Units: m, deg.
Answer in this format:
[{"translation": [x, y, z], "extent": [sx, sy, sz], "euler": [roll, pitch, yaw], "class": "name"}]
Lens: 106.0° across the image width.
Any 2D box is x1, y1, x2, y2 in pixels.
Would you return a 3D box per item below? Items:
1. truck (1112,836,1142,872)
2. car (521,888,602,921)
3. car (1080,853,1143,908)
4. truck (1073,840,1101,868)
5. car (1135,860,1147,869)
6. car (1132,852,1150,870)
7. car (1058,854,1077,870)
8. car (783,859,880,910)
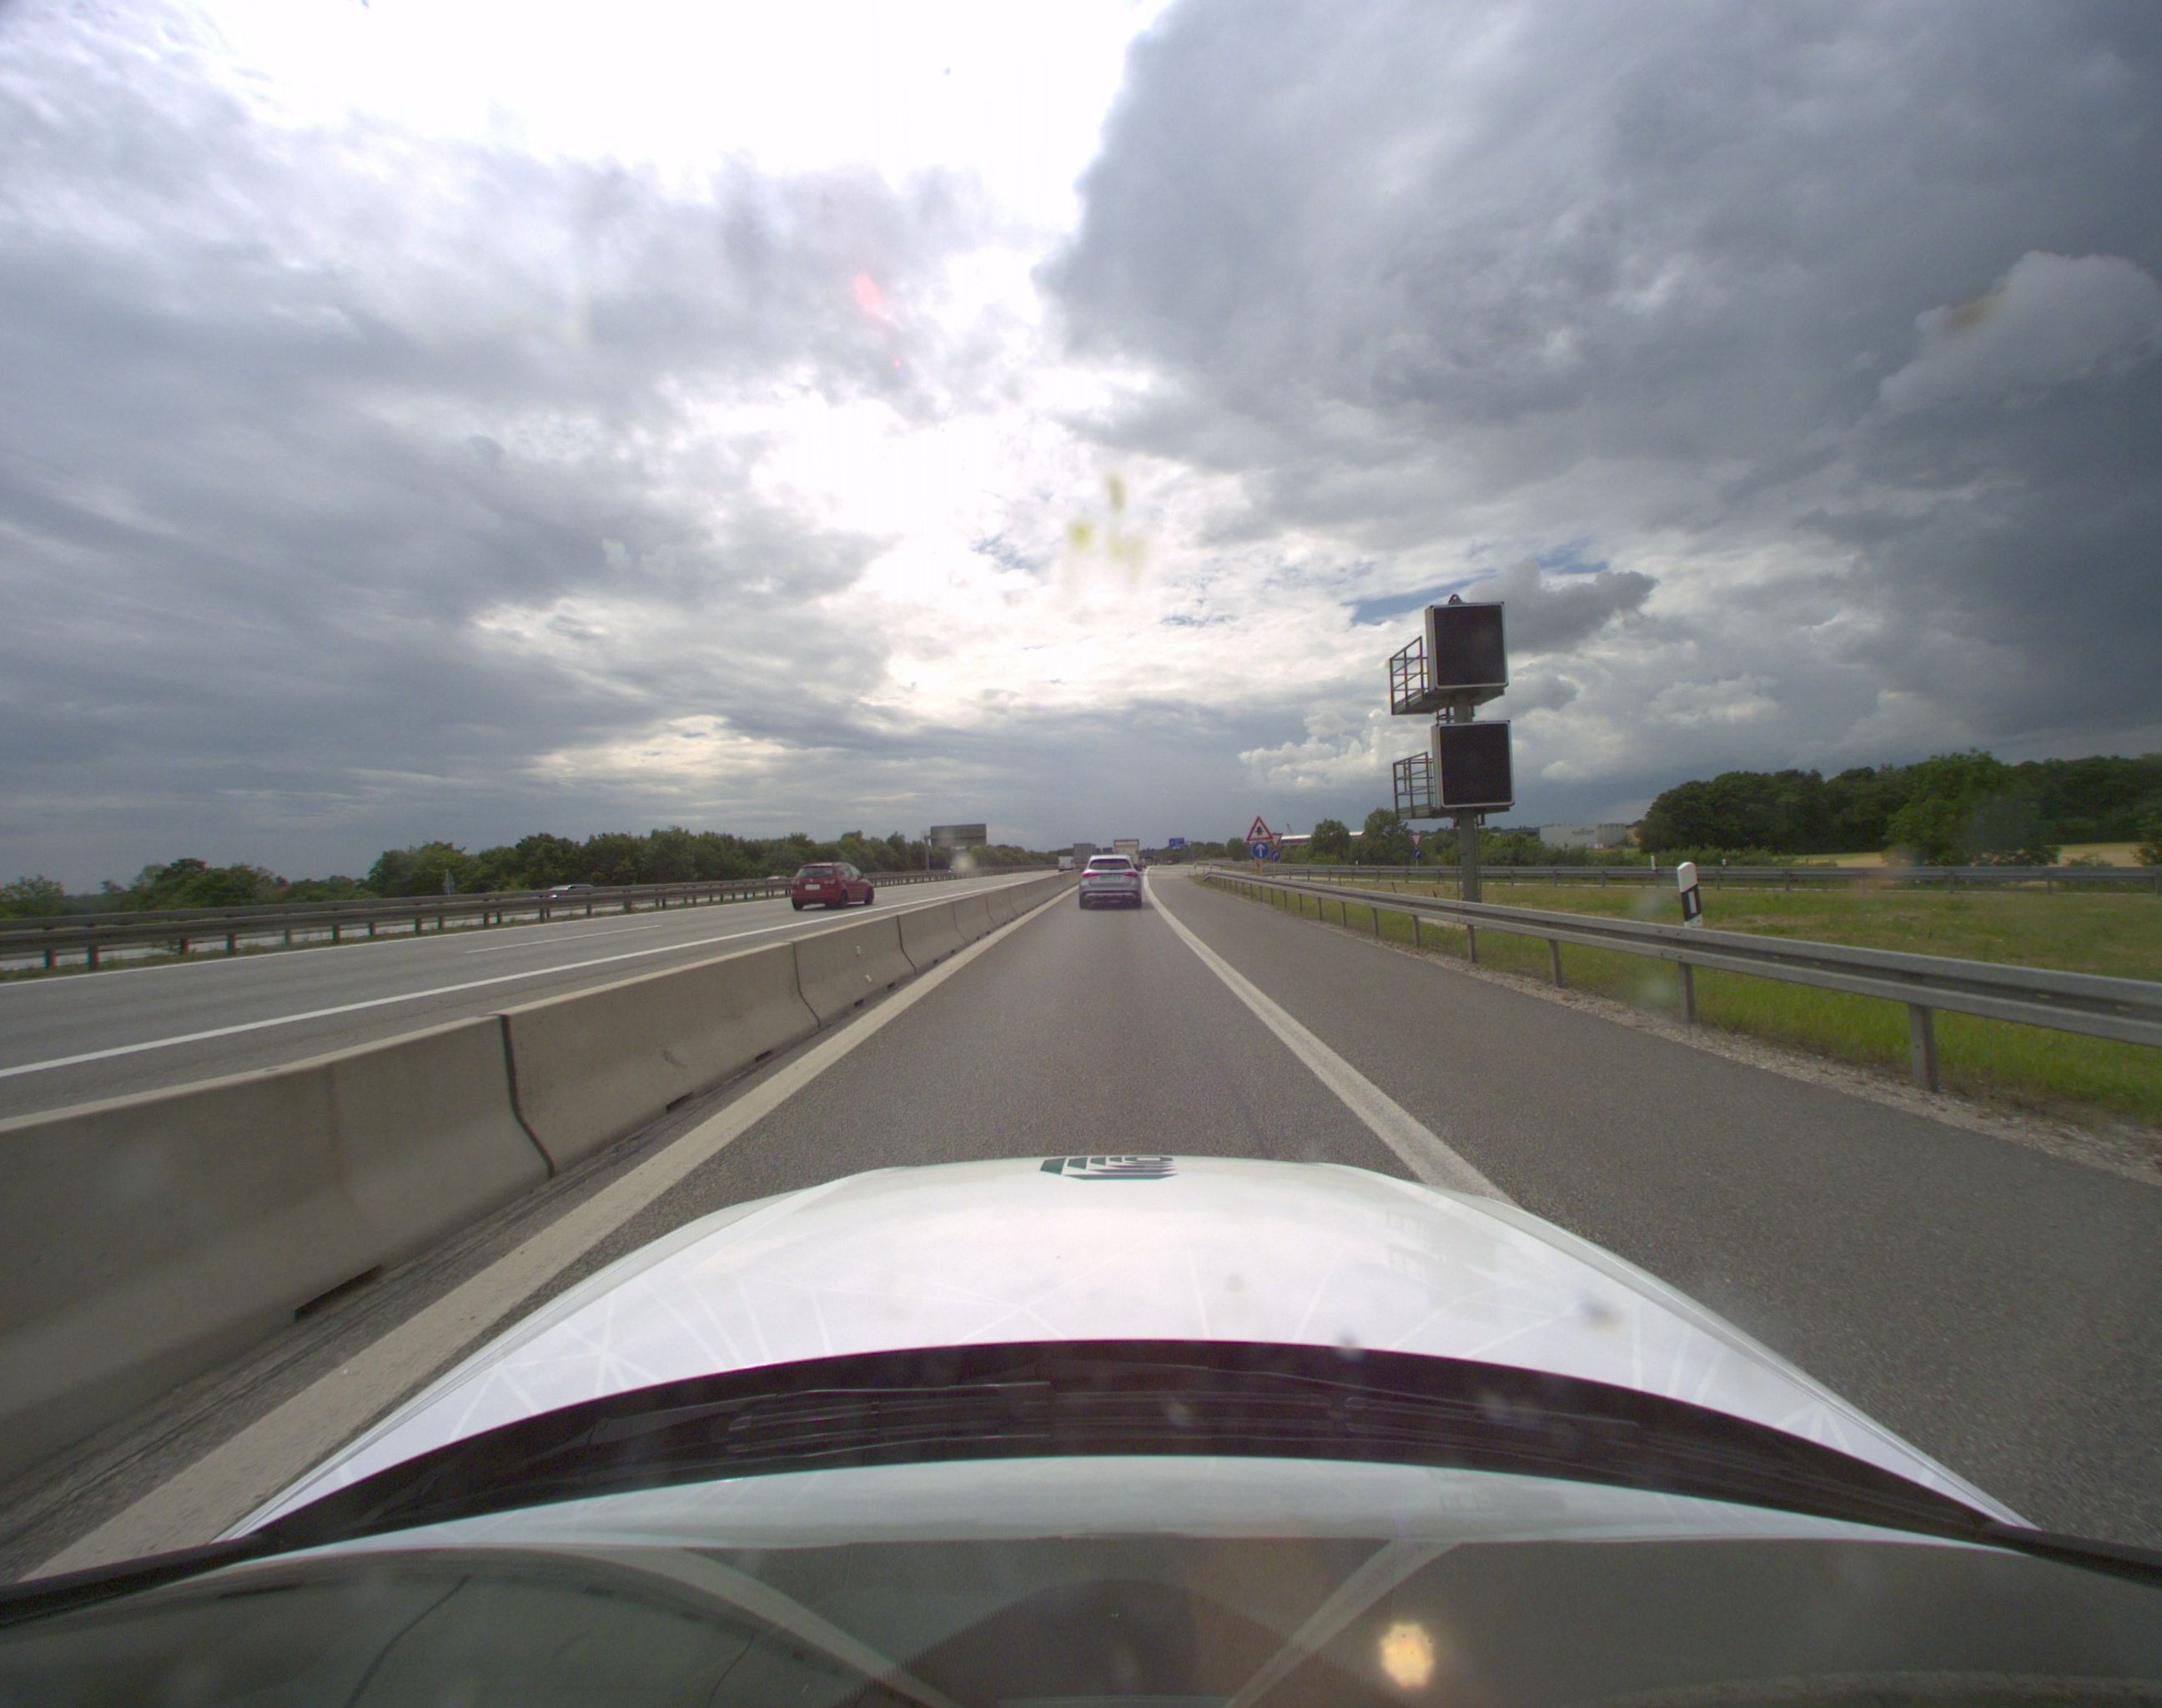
[{"translation": [4.324, 0.041, 75.465], "extent": [2.558, 3.126, 8.642], "euler": [-1, -1, 4], "class": "truck"}, {"translation": [-30.355, 2.921, 47.716], "extent": [1.820, 1.706, 4.007], "euler": [-1, 0, 6], "class": "car"}, {"translation": [1.004, 0.766, 25.613], "extent": [1.812, 1.514, 4.004], "euler": [-1, 1, 3], "class": "car"}, {"translation": [1.082, -0.061, 127.254], "extent": [3.169, 4.018, 16.096], "euler": [-1, 1, 5], "class": "truck"}, {"translation": [9.348, 1.596, 125.994], "extent": [1.687, 1.288, 4.007], "euler": [-1, 0, 6], "class": "car"}, {"translation": [7.094, 0.824, 96.255], "extent": [1.984, 2.013, 4.006], "euler": [-1, 1, 5], "class": "car"}, {"translation": [-1.749, 0.994, 105.768], "extent": [1.984, 2.013, 4.381], "euler": [-1, 1, 6], "class": "car"}, {"translation": [-8.693, 1.022, 28.810], "extent": [1.811, 1.546, 4.360], "euler": [-1, 1, 4], "class": "car"}]
